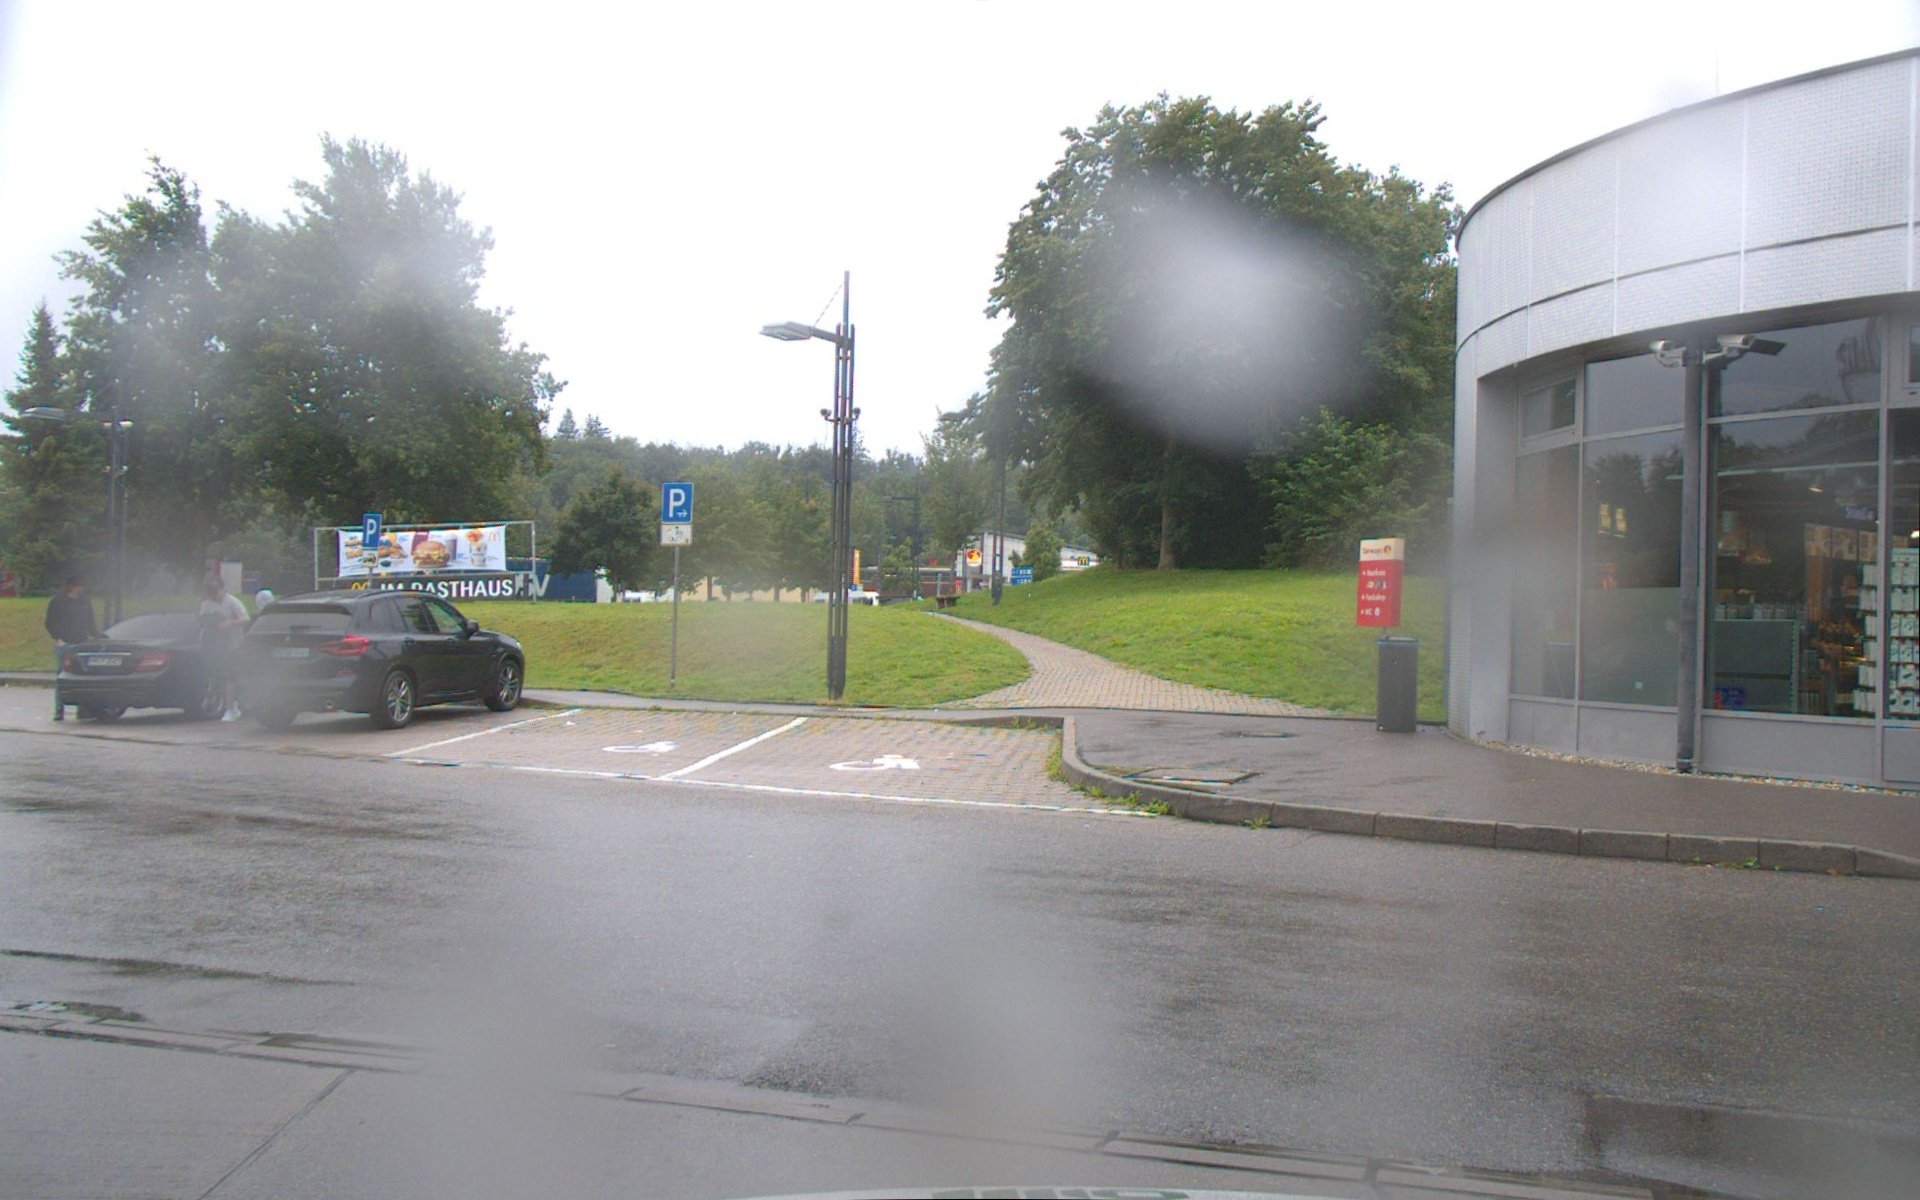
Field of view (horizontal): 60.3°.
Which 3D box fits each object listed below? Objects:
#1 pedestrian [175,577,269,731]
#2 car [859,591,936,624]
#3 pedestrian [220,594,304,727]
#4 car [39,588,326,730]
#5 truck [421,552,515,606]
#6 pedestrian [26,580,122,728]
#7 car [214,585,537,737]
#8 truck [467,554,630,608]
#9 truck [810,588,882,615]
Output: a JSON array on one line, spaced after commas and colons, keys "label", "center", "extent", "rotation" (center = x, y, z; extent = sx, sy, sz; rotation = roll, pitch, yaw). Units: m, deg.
[{"label": "pedestrian", "center": [-9.496, 0.682, 21.279], "extent": [0.944, 1.920, 0.694], "rotation": [1, -1, -38]}, {"label": "car", "center": [-3.585, 0.431, 95.579], "extent": [4.075, 1.814, 1.828], "rotation": [1, 0, -28]}, {"label": "pedestrian", "center": [-8.894, 0.761, 21.079], "extent": [0.938, 1.660, 0.699], "rotation": [1, -1, -24]}, {"label": "car", "center": [-10.569, 0.723, 22.890], "extent": [1.976, 1.741, 4.342], "rotation": [-1, 1, -2]}, {"label": "truck", "center": [-27.978, -1.168, 94.254], "extent": [2.142, 2.971, 5.384], "rotation": [1, 0, 24]}, {"label": "pedestrian", "center": [-11.758, 0.703, 21.961], "extent": [0.872, 1.920, 0.704], "rotation": [1, -1, 23]}, {"label": "car", "center": [-7.362, 0.696, 21.372], "extent": [1.973, 1.741, 4.347], "rotation": [-1, 1, 11]}, {"label": "truck", "center": [-24.928, -1.085, 101.269], "extent": [2.142, 2.971, 13.093], "rotation": [1, 0, 23]}, {"label": "truck", "center": [-9.232, 0.140, 133.667], "extent": [5.298, 2.049, 2.366], "rotation": [1, 0, 24]}]
